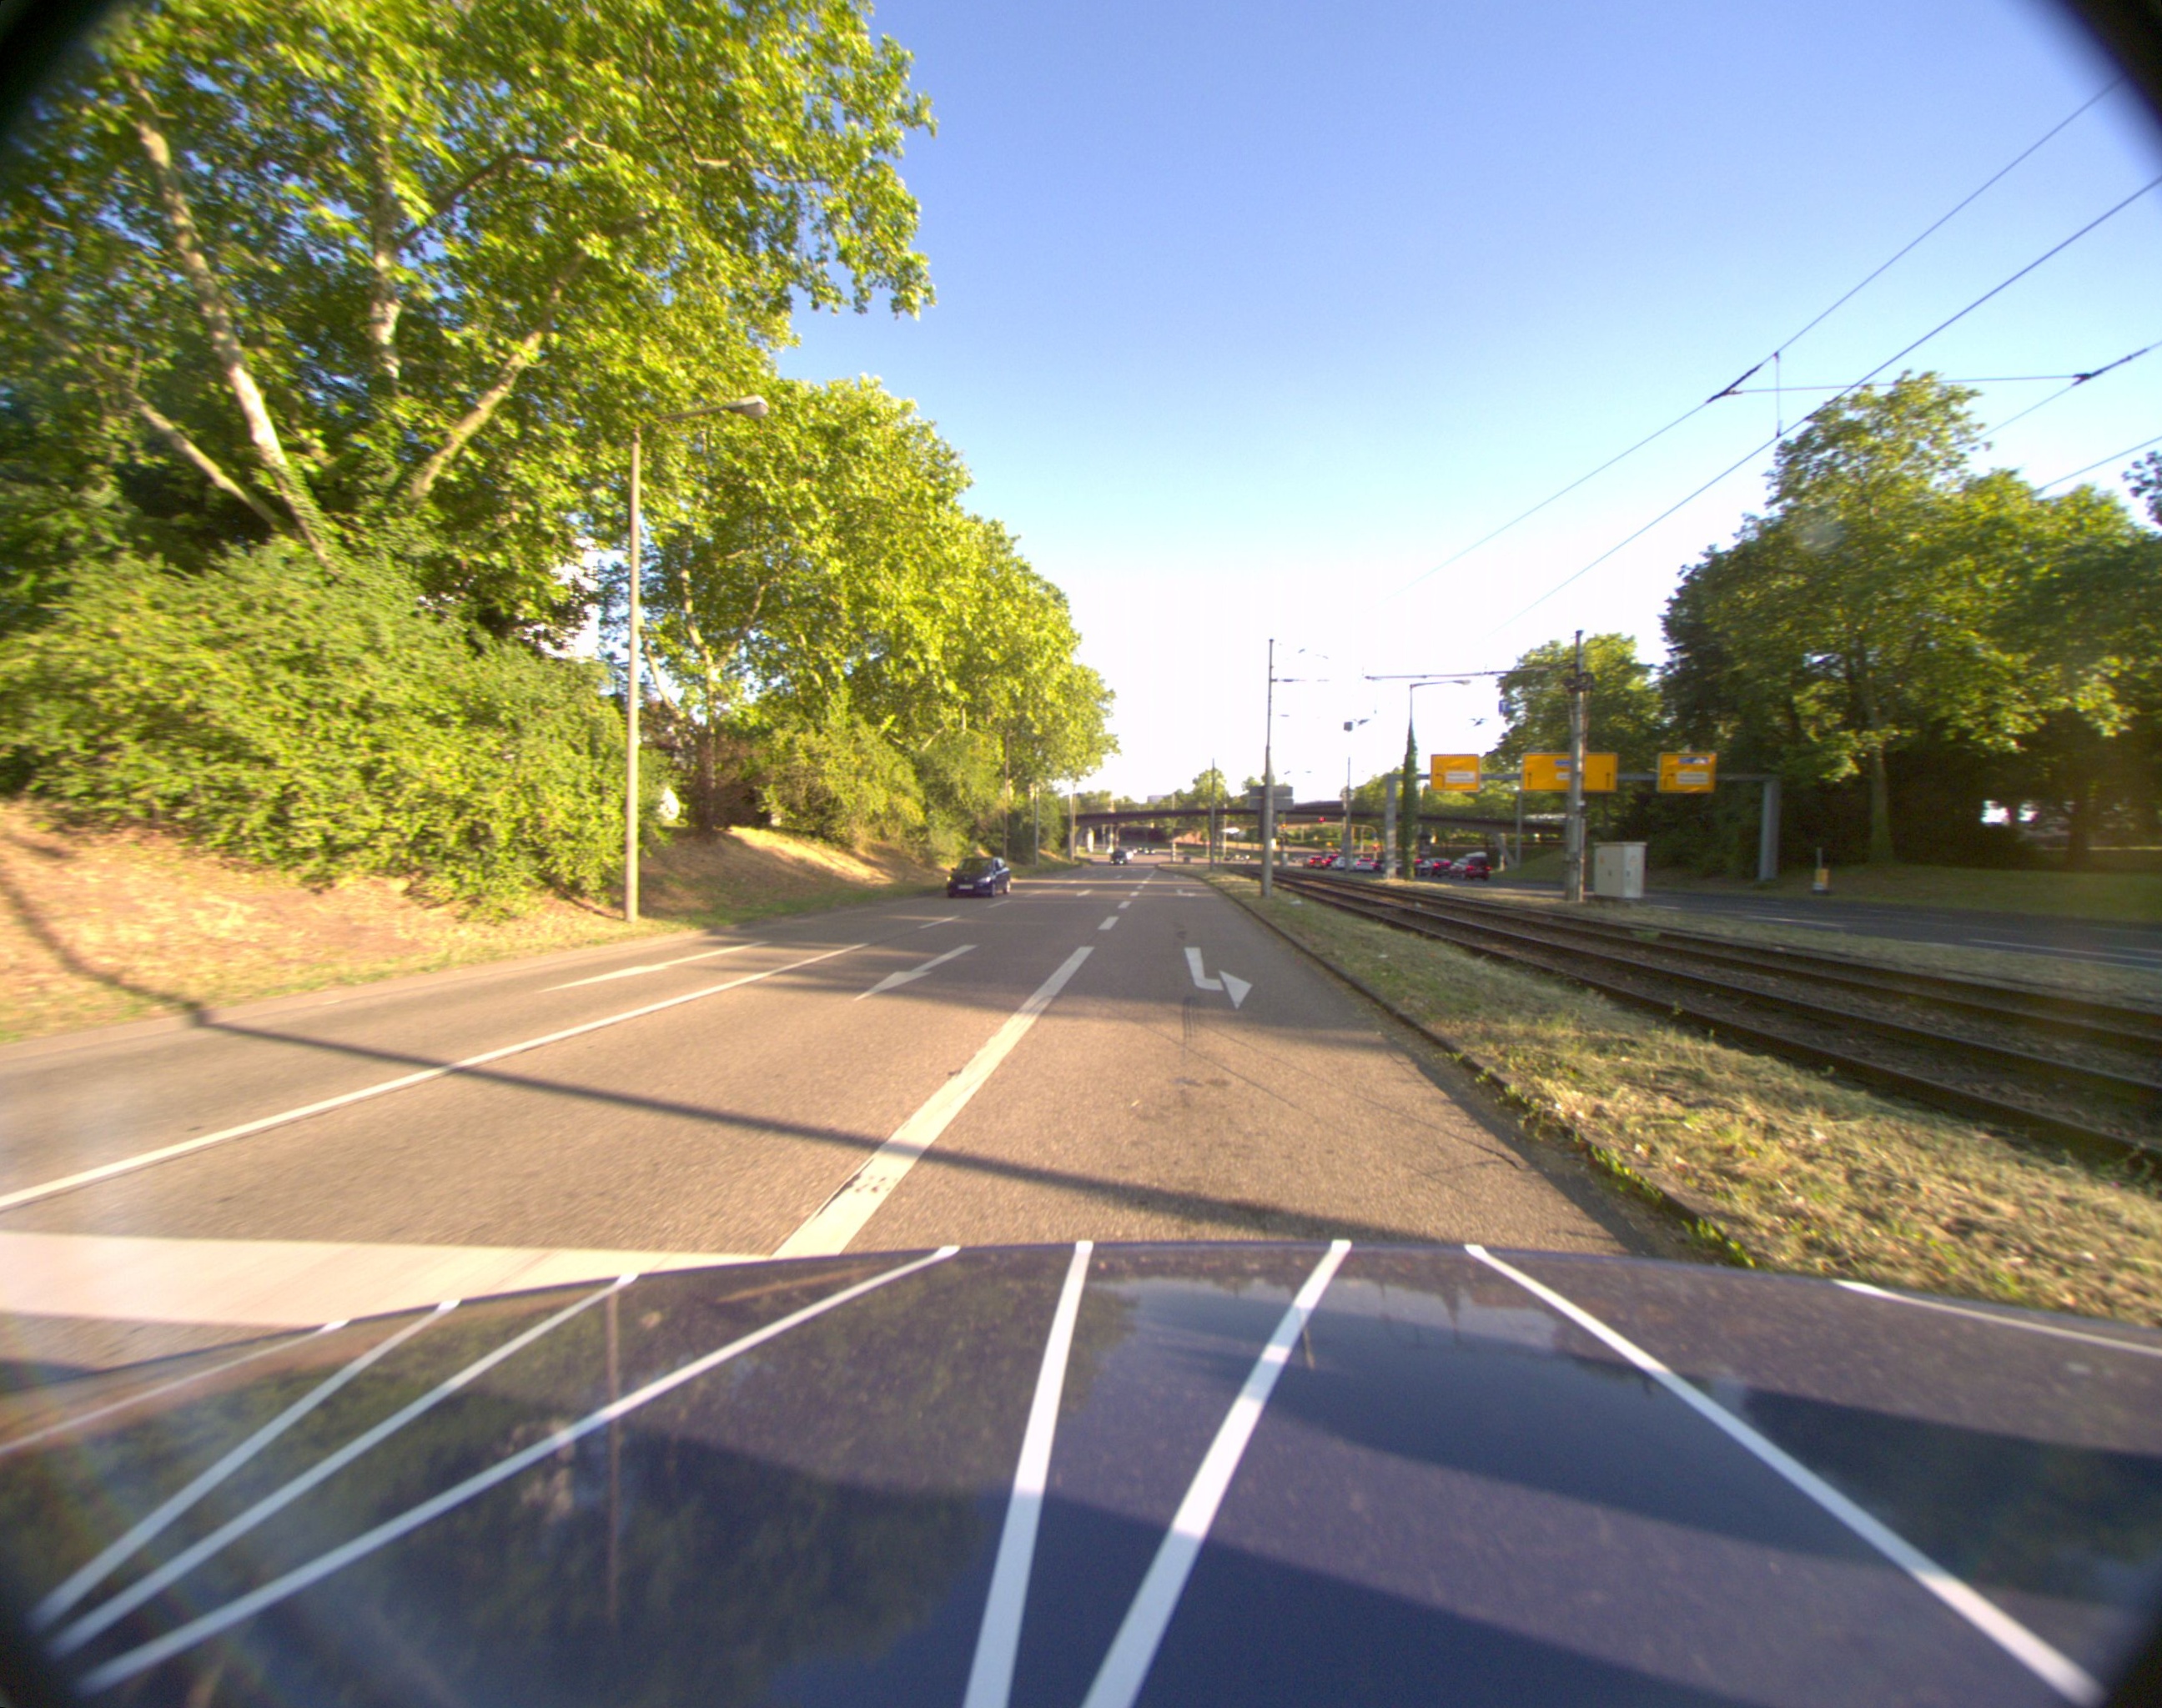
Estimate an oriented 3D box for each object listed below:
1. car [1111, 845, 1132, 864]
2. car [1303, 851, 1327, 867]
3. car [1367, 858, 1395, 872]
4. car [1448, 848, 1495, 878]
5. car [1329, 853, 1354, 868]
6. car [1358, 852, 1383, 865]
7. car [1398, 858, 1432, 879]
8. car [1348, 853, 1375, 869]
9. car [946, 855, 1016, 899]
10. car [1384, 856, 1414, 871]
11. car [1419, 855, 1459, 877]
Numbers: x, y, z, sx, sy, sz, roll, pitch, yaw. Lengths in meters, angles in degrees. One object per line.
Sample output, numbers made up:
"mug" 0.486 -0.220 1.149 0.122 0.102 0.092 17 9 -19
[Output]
"car" 4.784 0.087 89.220 1.997 2.150 4.193 0 1 8
"car" 24.332 0.508 79.176 1.666 1.556 4.002 0 1 7
"car" 32.968 1.169 83.615 1.796 1.375 4.478 -1 1 7
"car" 29.279 0.648 57.090 1.796 2.093 4.001 0 1 7
"car" 28.279 0.667 82.628 1.745 1.424 4.414 3 1 9
"car" 33.768 0.506 88.693 1.796 1.433 4.002 0 1 7
"car" 30.609 1.299 69.651 1.796 1.740 4.002 0 1 7
"car" 27.865 0.680 75.578 1.666 1.556 4.192 0 1 7
"car" -3.648 0.811 28.372 1.628 1.434 3.987 -1 1 7
"car" 32.251 0.933 77.250 1.796 1.473 4.002 0 1 7
"car" 29.760 0.969 63.225 1.796 1.740 4.242 0 1 7
